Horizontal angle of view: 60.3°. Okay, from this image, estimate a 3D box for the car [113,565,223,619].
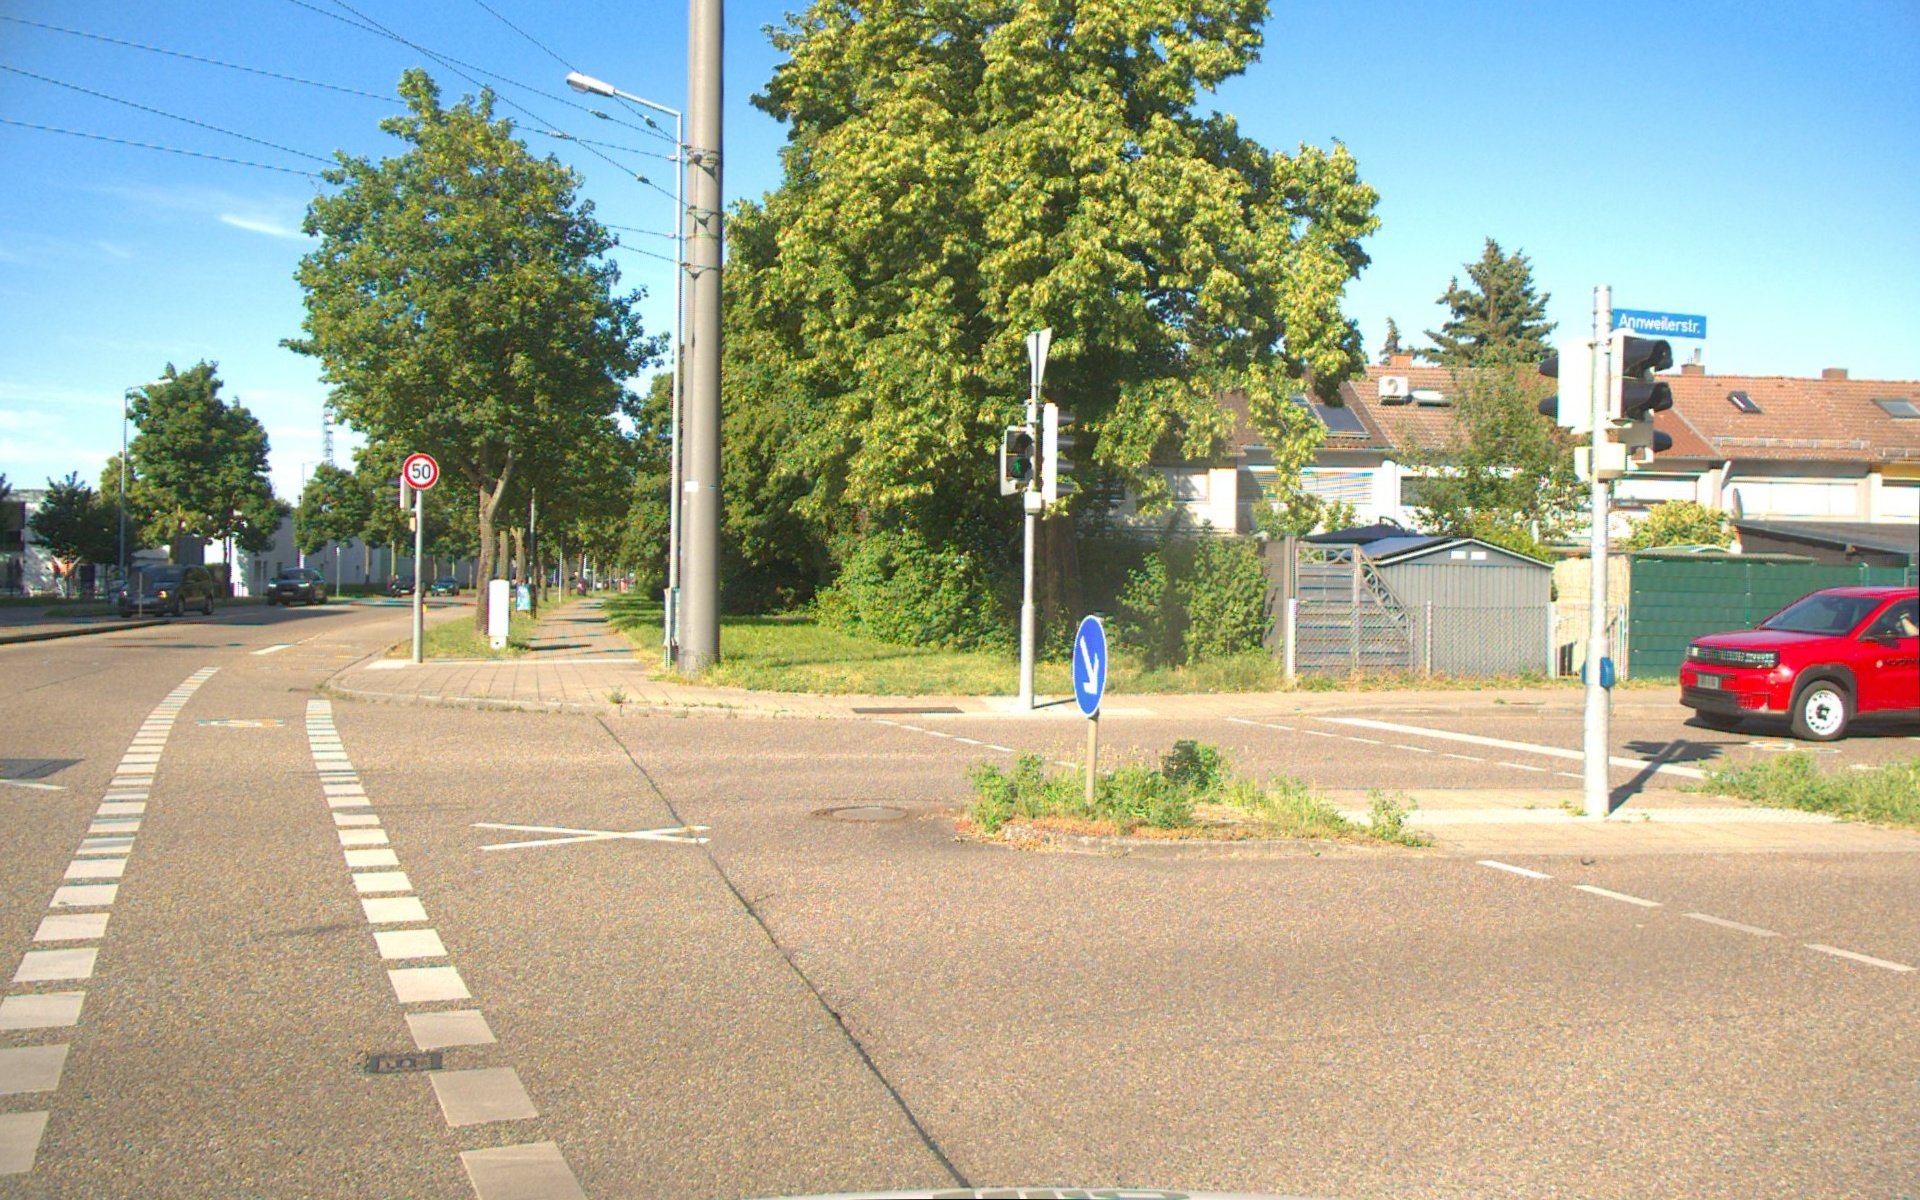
[{"bbox_3d":[-24.826,-0.262,51.994,1.956,1.599,3.993,0,1,-8],"label":"car"}]

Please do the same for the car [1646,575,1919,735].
[{"bbox_3d":[9.910,0.569,18.053,4.093,1.616,1.941,1,1,-12],"label":"car"}]

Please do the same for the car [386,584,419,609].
[{"bbox_3d":[-36.636,-0.243,108.746,1.650,1.561,3.986,1,1,-13],"label":"car"}]

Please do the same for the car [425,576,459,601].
[{"bbox_3d":[-38.782,-0.856,123.959,1.861,1.789,3.990,3,0,-10],"label":"car"}]

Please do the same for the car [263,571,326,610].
[{"bbox_3d":[-30.968,-0.454,77.047,1.959,1.768,5.181,0,1,-13],"label":"car"}]
